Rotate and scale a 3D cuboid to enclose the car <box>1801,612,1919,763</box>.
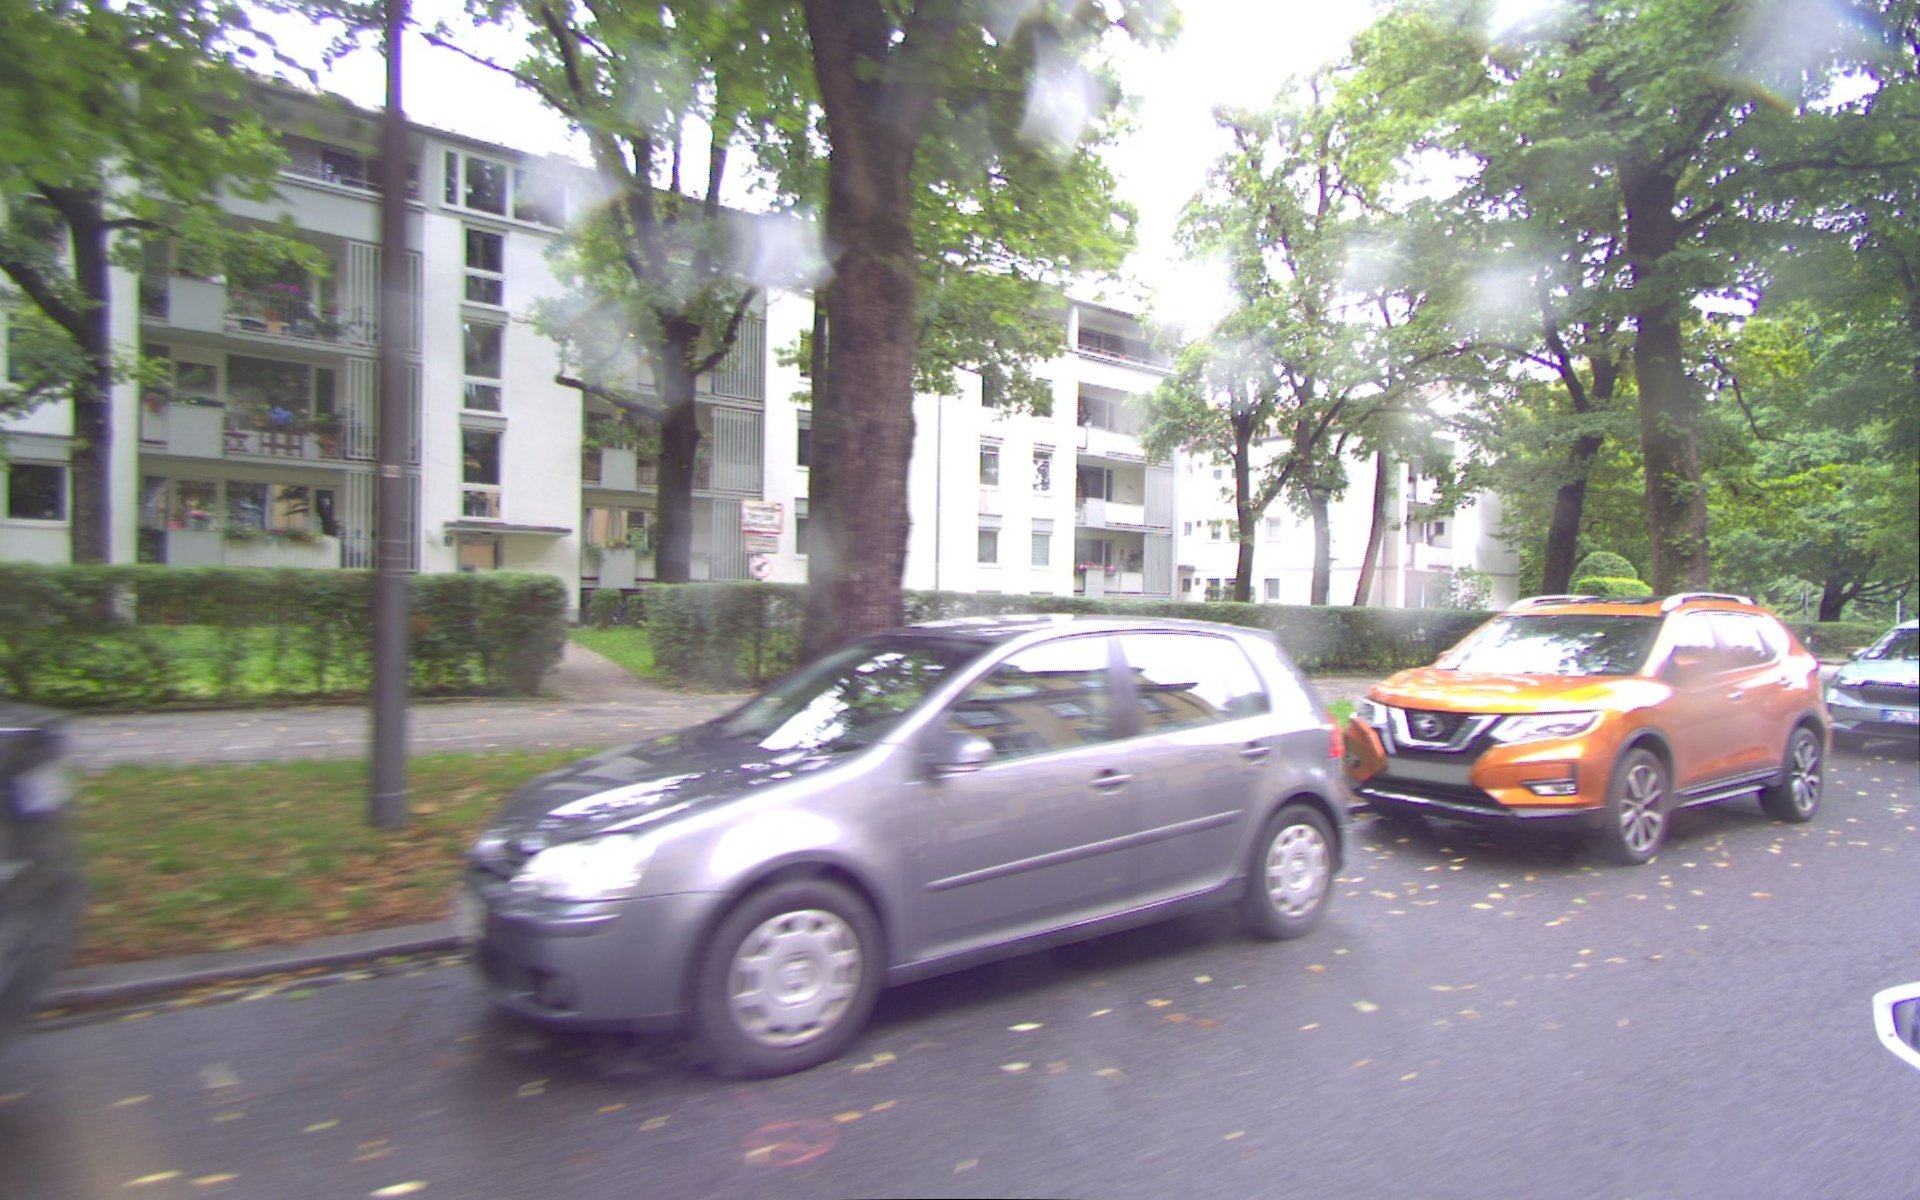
[{"bbox_3d":[12.293,1.025,12.331,4.466,1.623,1.804,2,0,-33],"label":"car"}]

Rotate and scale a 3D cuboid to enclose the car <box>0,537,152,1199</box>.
[{"bbox_3d":[-4.296,0.636,1.651,4.440,1.595,1.775,1,-1,-34],"label":"car"}]

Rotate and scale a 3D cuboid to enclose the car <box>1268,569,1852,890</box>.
[{"bbox_3d":[4.608,0.756,7.502,4.590,1.751,1.862,2,0,-32],"label":"car"}]

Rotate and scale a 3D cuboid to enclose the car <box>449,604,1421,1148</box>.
[{"bbox_3d":[0.110,0.787,4.613,4.207,1.442,1.716,1,0,-34],"label":"car"}]
